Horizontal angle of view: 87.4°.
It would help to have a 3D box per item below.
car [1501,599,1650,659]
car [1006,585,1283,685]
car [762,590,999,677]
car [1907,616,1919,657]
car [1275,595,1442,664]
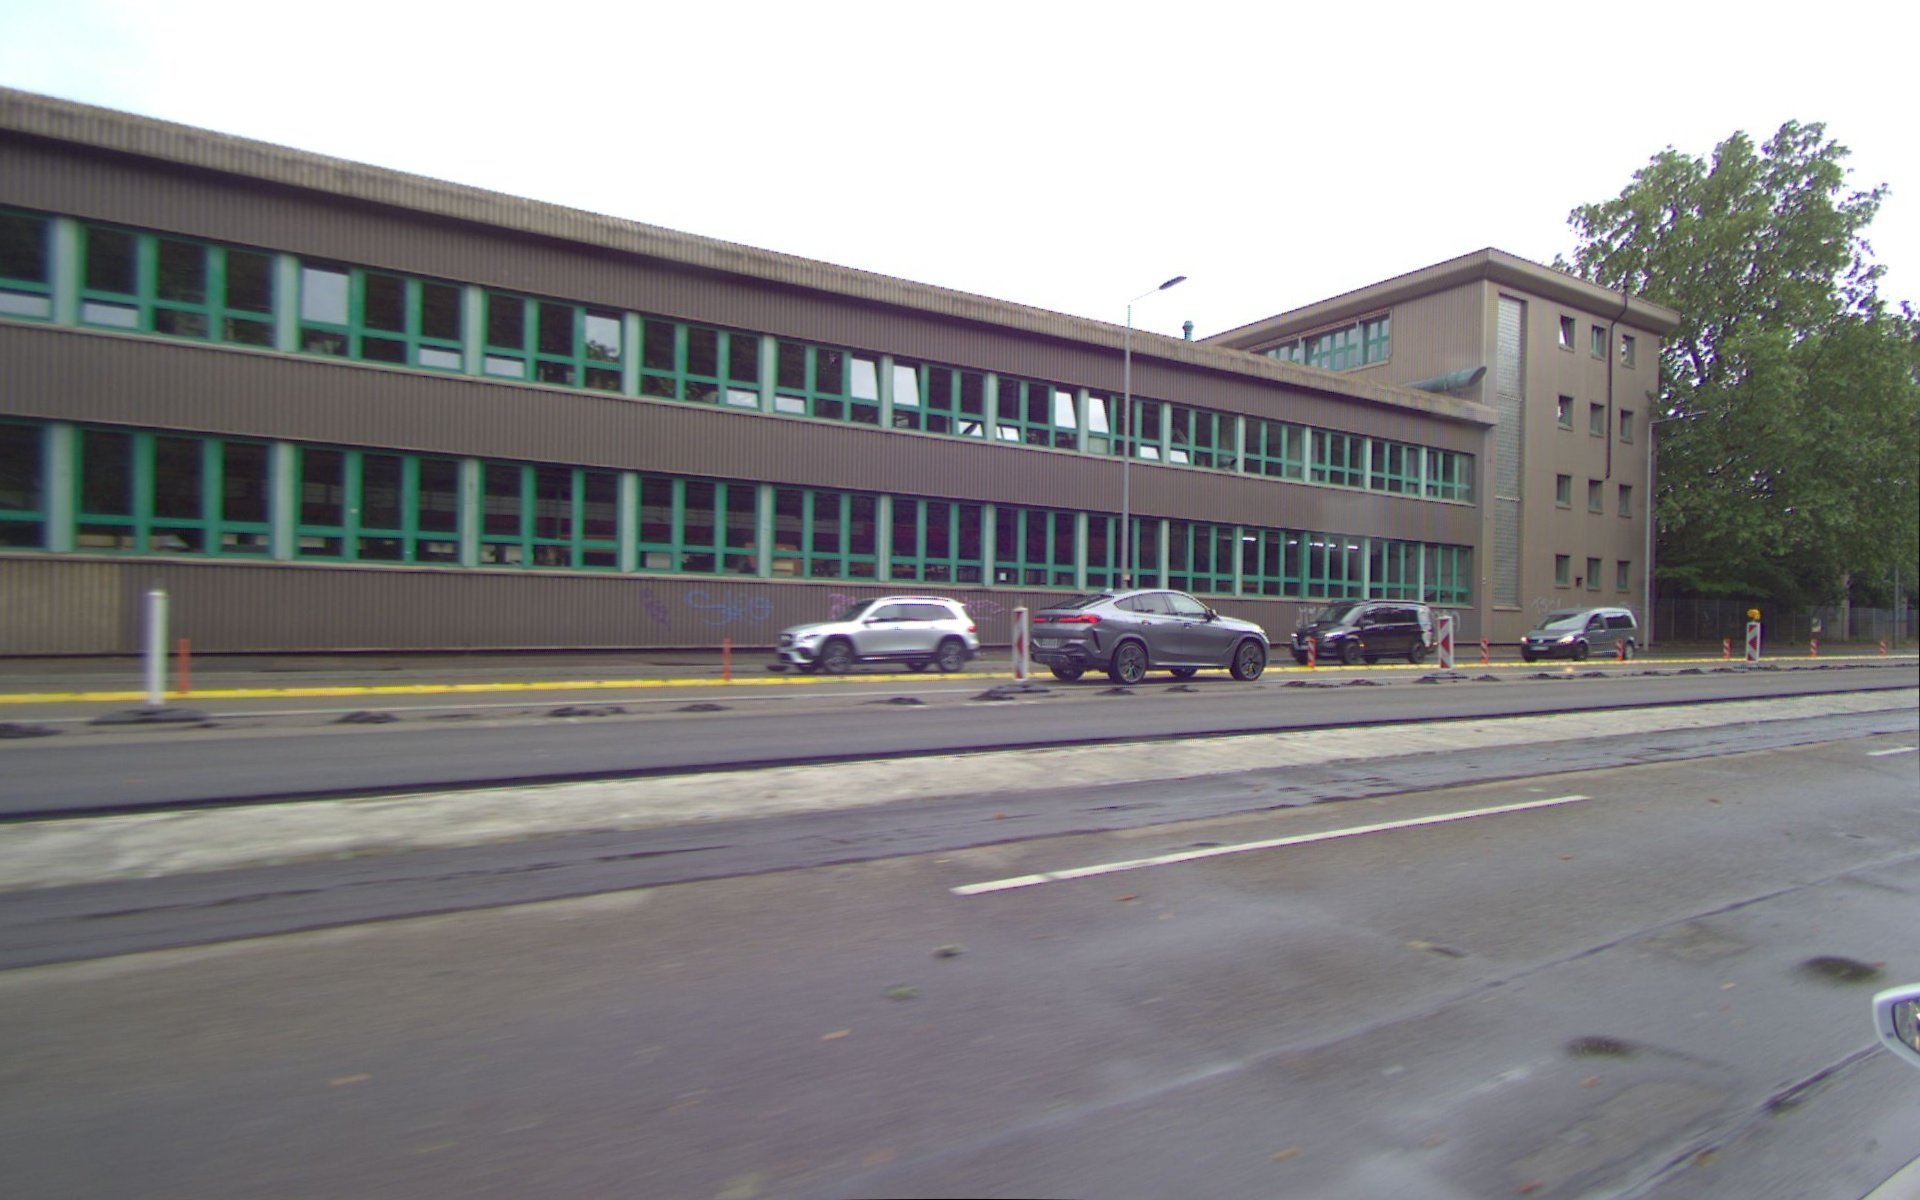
[{"bbox_3d":[20.090,0.935,32.751,4.894,1.804,1.985,2,0,-29],"label":"car"},{"bbox_3d":[3.504,0.631,18.751,5.000,1.635,2.065,2,0,-32],"label":"car"},{"bbox_3d":[-1.707,0.725,22.292,4.881,1.729,1.927,2,0,-32],"label":"car"},{"bbox_3d":[41.257,1.547,41.687,3.954,1.670,1.845,2,0,-31],"label":"car"},{"bbox_3d":[12.219,0.899,30.688,5.305,1.944,1.982,2,0,-32],"label":"car"}]
